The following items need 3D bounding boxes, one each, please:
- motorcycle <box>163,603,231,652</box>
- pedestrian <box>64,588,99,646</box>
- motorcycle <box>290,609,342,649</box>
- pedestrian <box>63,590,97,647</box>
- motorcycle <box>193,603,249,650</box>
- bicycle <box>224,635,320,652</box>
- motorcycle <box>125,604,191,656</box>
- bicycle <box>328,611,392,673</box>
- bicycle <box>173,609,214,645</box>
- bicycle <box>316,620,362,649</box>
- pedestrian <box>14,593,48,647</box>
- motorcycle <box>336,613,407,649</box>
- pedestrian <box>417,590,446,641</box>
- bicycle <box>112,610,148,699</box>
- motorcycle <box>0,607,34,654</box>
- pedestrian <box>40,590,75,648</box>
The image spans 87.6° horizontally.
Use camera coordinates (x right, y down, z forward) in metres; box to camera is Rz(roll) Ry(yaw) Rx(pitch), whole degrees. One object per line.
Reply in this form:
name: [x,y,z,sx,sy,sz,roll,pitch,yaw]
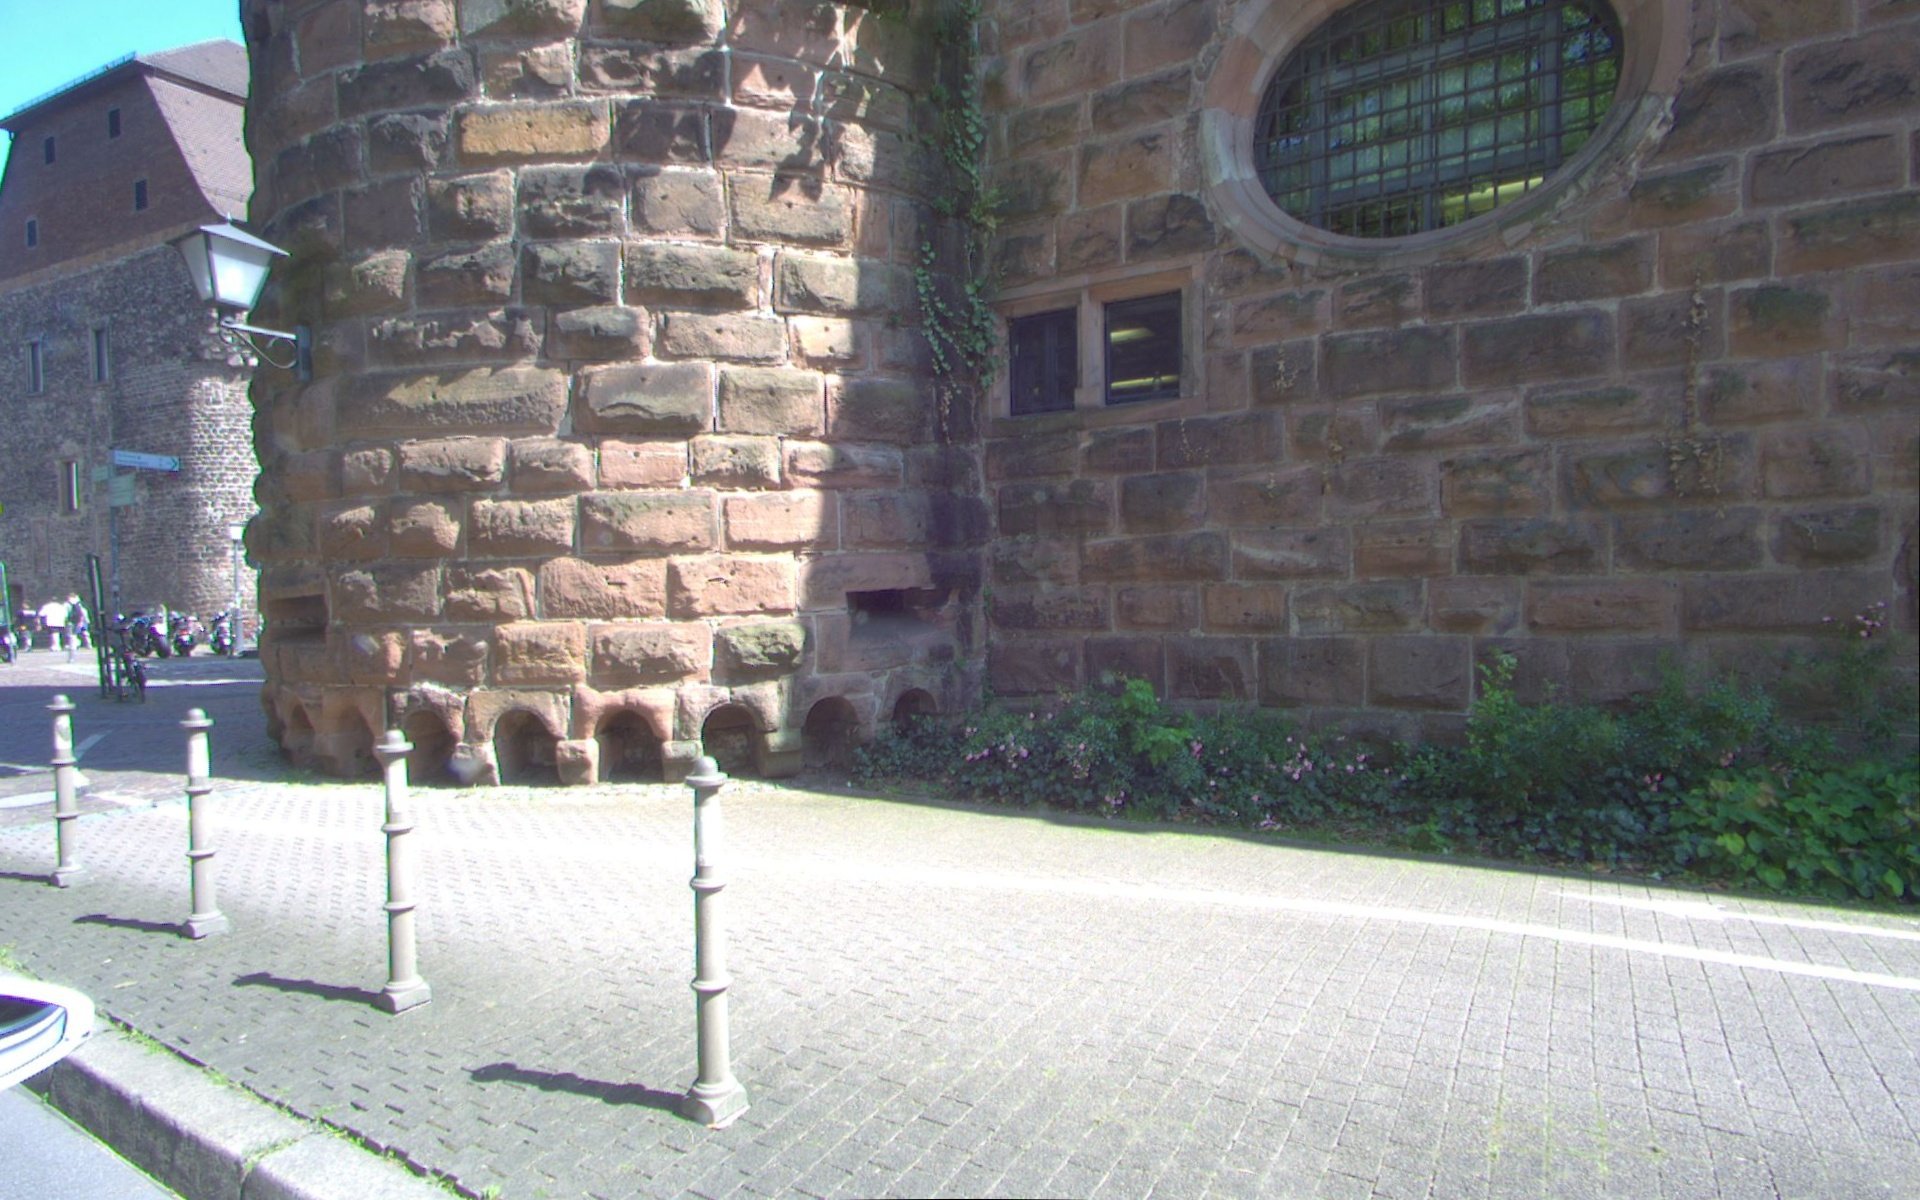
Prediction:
motorcycle: [-20.150,0.736,26.442,2.280,1.251,0.674,-1,-2,32]
pedestrian: [-31.422,0.609,35.819,0.865,2.039,0.729,-1,-1,32]
motorcycle: [-18.084,0.831,28.110,1.814,1.087,0.506,-1,-2,32]
pedestrian: [-30.703,0.647,34.924,0.809,1.944,0.667,-1,-1,31]
motorcycle: [-20.288,0.746,27.468,2.002,1.251,0.545,-1,-2,32]
bicycle: [-17.564,1.111,25.603,1.916,0.386,0.909,0,-2,-44]
motorcycle: [-20.460,0.766,25.527,2.169,1.282,0.654,-1,-1,32]
bicycle: [-11.923,0.812,19.887,1.707,1.178,0.445,0,1,36]
bicycle: [-26.633,0.937,34.784,1.690,1.225,0.388,-1,-1,24]
bicycle: [-18.374,1.008,29.610,1.898,0.831,0.353,0,-1,32]
pedestrian: [-31.910,0.682,34.407,0.835,1.826,0.651,0,0,31]
motorcycle: [-18.314,0.967,31.181,0.474,1.067,1.858,-1,-2,40]
pedestrian: [-17.880,0.510,33.875,0.799,1.684,0.652,-1,1,-34]
bicycle: [-12.018,0.762,14.480,1.750,1.220,0.192,0,1,44]
motorcycle: [-22.089,0.692,22.988,2.453,1.026,0.565,0,1,32]
pedestrian: [-30.606,0.652,33.952,0.809,1.908,0.667,-1,-1,31]
